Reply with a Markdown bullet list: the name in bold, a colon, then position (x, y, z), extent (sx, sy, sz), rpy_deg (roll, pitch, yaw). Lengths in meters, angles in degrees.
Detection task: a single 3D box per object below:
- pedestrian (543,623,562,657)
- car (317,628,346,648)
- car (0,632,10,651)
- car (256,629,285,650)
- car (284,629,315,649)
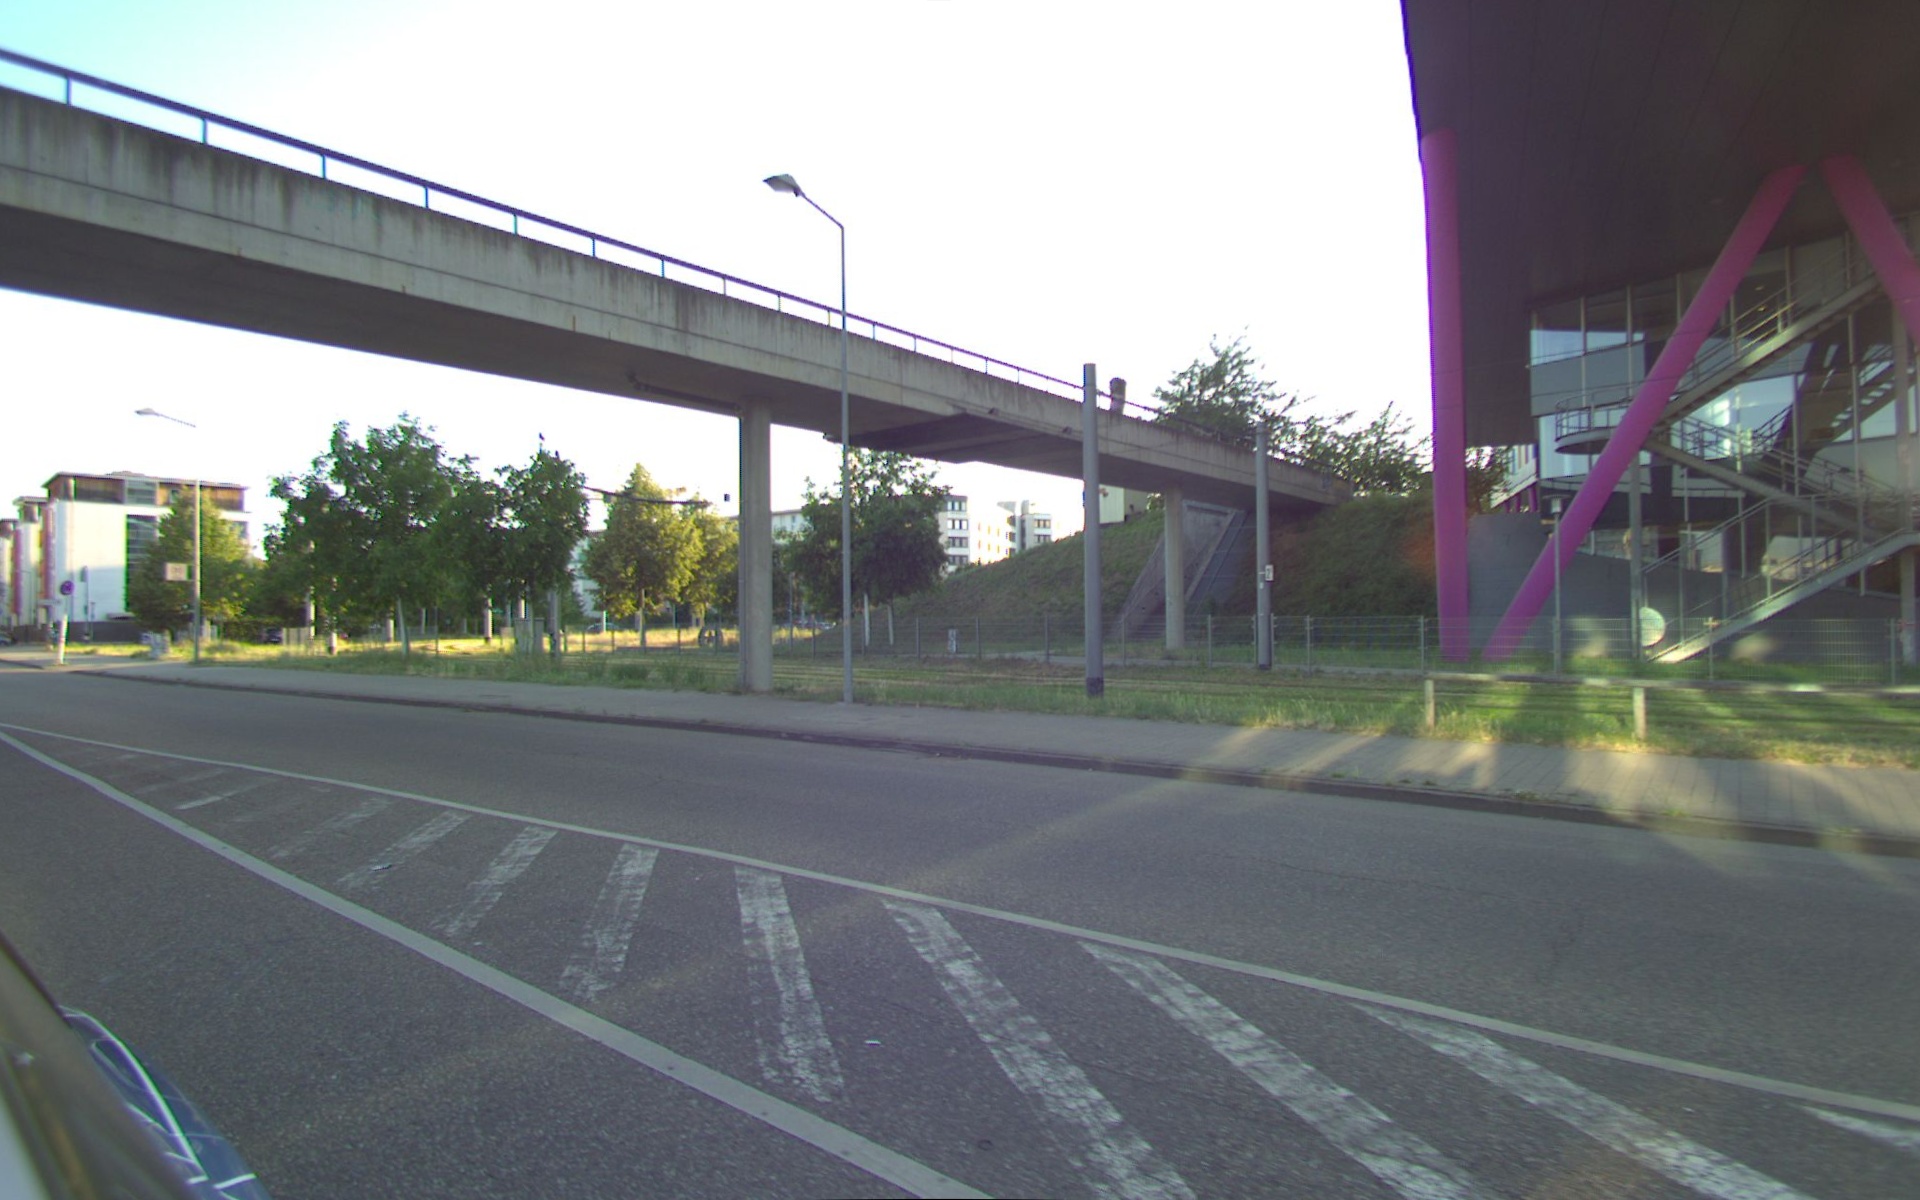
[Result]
- **pedestrian**: position (-19.833, 1.940, 49.238), extent (0.767, 1.623, 0.417), rpy_deg (0, -2, -38)
- **car**: position (-57.050, 3.470, 91.874), extent (1.842, 1.734, 3.852), rpy_deg (0, -2, -38)
- **car**: position (-84.243, 3.611, 86.521), extent (1.839, 1.571, 4.330), rpy_deg (-1, -1, 42)
- **car**: position (-60.468, 3.459, 88.723), extent (1.842, 1.734, 3.853), rpy_deg (0, -2, -37)
- **car**: position (-58.851, 3.460, 90.151), extent (1.843, 1.734, 3.851), rpy_deg (0, -2, -40)
